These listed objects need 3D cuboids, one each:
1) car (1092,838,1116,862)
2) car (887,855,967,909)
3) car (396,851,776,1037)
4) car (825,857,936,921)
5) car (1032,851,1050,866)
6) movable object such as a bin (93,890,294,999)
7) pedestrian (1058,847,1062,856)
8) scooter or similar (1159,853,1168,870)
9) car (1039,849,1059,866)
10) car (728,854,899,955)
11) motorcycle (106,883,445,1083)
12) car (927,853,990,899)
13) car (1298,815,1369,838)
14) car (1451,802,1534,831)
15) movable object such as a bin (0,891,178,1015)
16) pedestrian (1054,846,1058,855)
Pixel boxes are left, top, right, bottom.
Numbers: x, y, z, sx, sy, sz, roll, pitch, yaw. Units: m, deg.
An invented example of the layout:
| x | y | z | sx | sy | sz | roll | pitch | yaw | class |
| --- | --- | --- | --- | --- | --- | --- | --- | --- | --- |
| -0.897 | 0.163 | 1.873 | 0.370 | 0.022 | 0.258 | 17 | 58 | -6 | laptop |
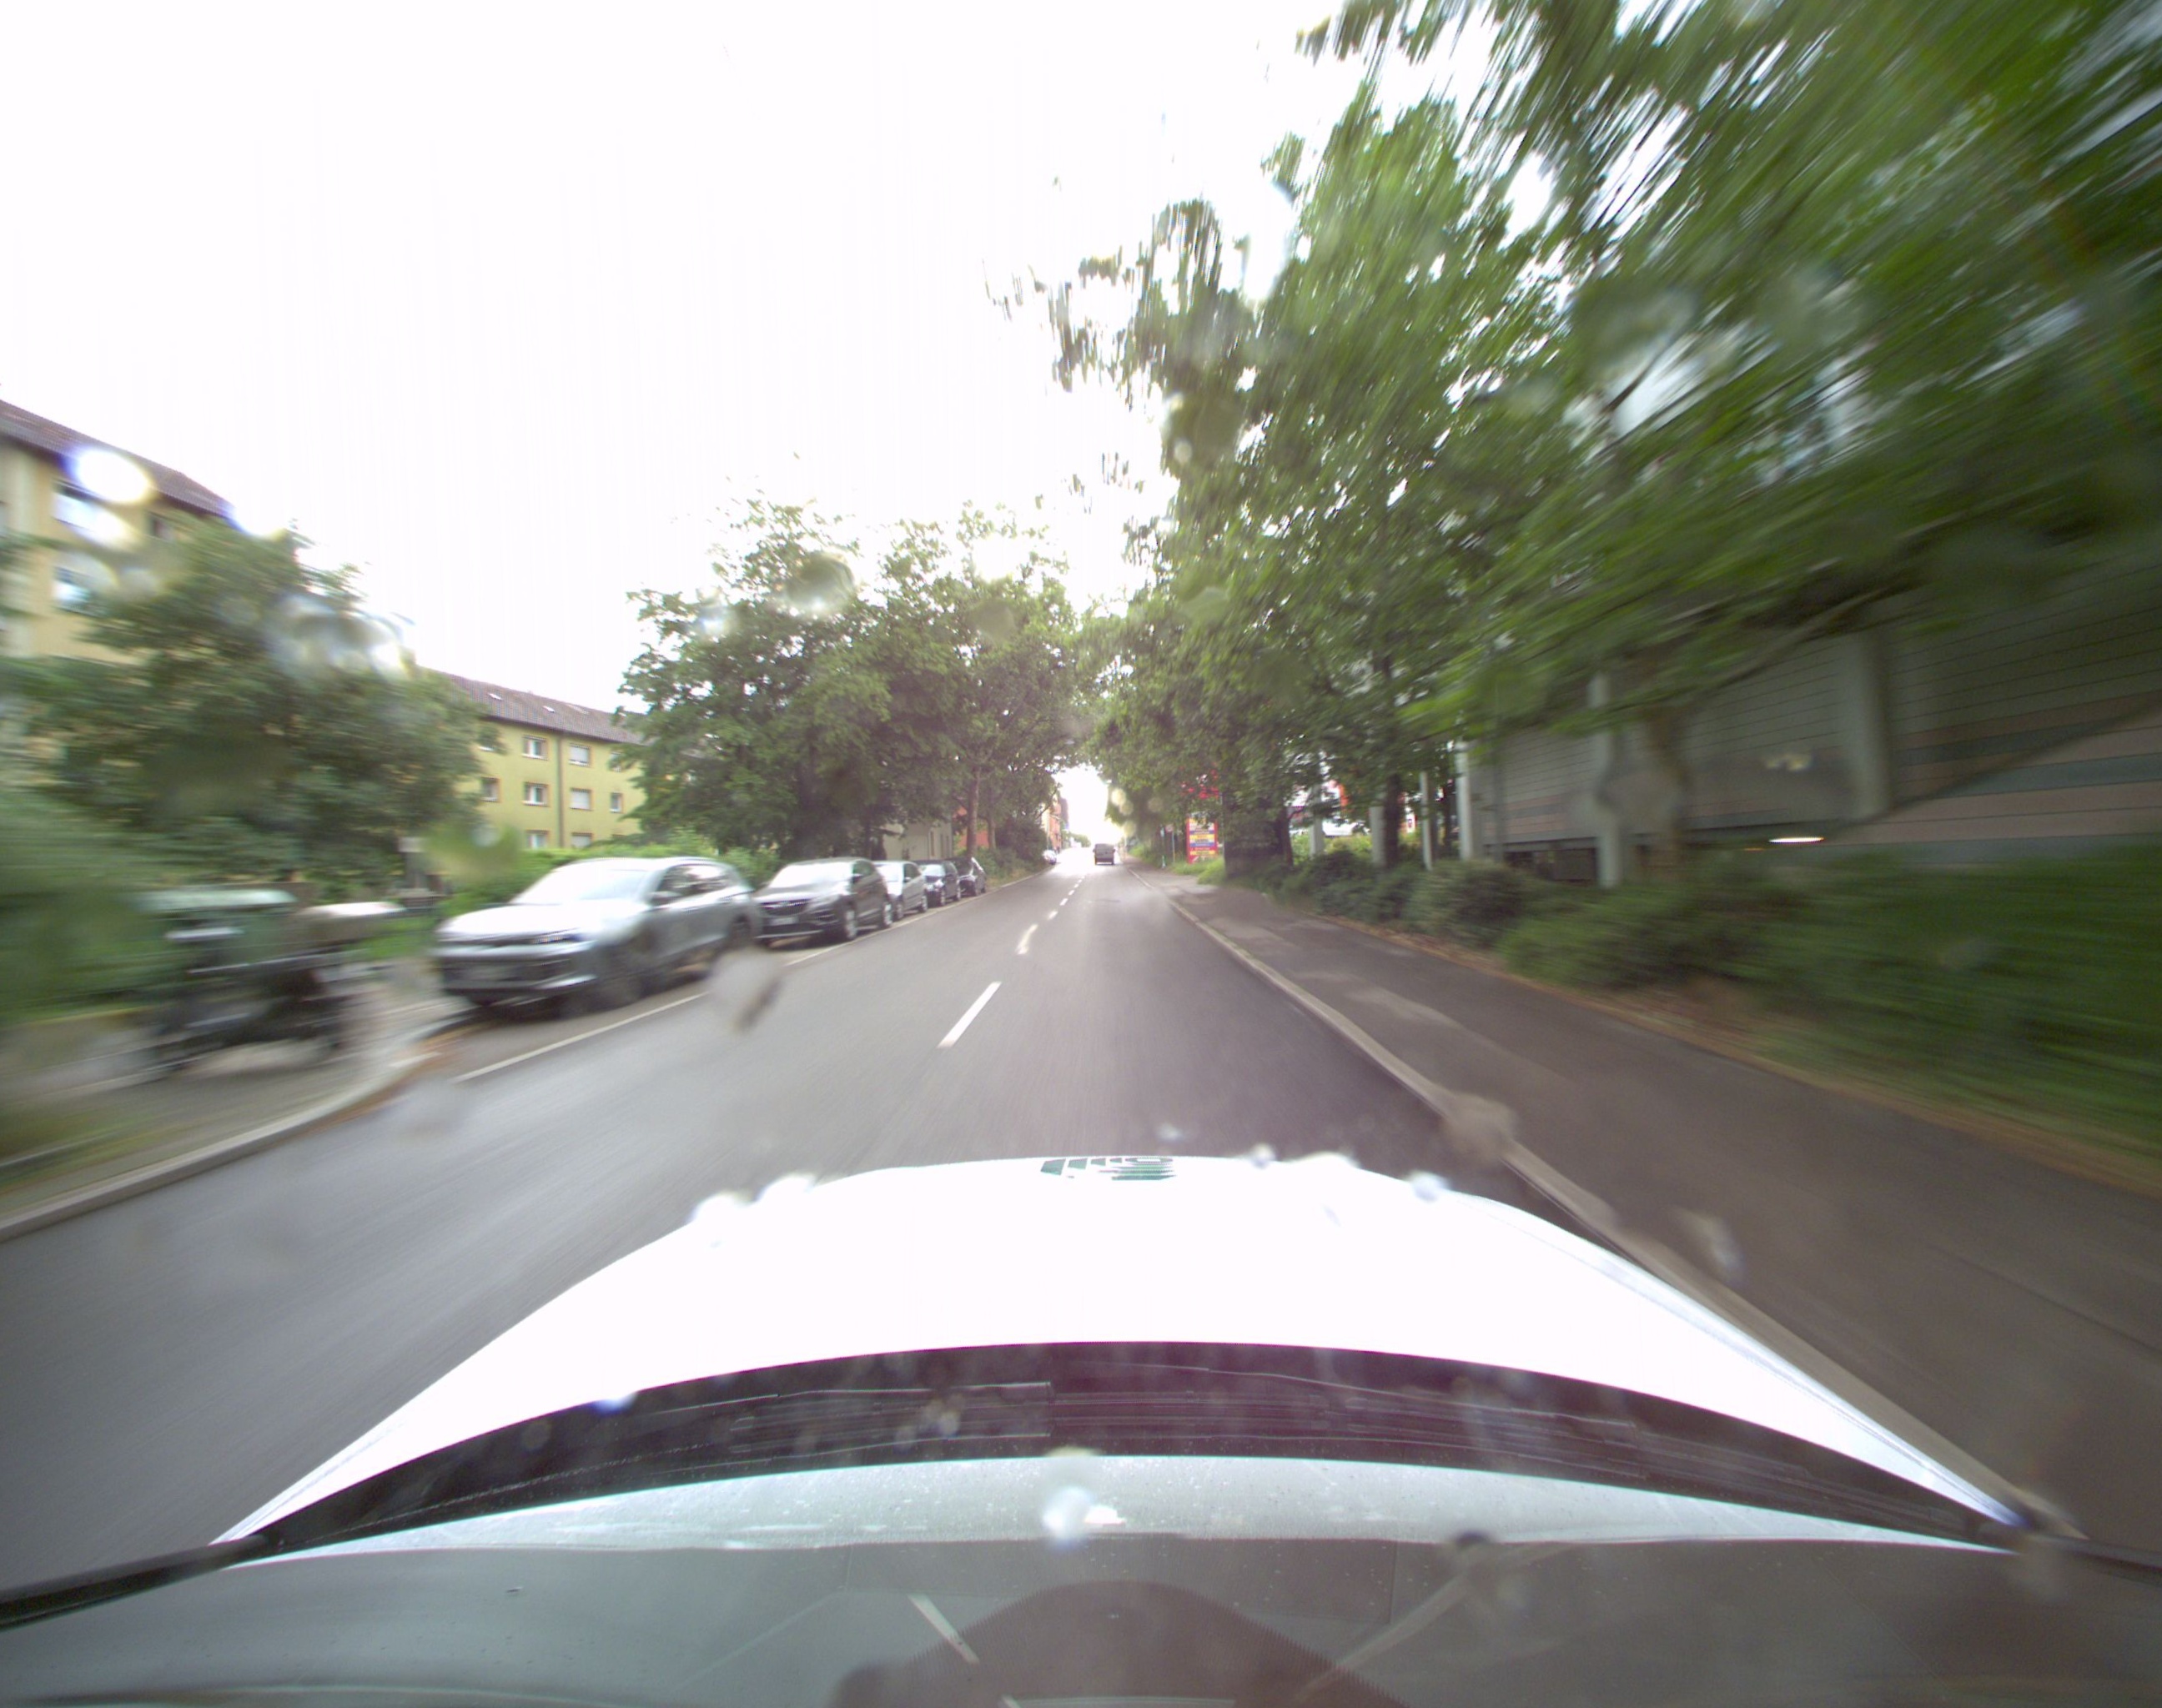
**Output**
| x | y | z | sx | sy | sz | roll | pitch | yaw | class |
| --- | --- | --- | --- | --- | --- | --- | --- | --- | --- |
| 2.391 | -0.354 | 83.691 | 2.327 | 2.231 | 4.002 | -3 | -1 | 2 | car |
| -4.934 | 0.847 | 26.537 | 1.666 | 1.508 | 3.876 | -3 | 0 | 2 | car |
| -5.797 | 0.893 | 10.398 | 1.727 | 1.657 | 4.567 | -6 | 0 | 3 | car |
| -5.155 | 0.842 | 21.481 | 1.665 | 1.508 | 4.126 | -1 | 0 | 3 | car |
| -3.977 | 0.457 | 81.087 | 1.633 | 1.373 | 3.758 | -2 | 0 | 0 | car |
| -12.748 | 1.259 | 11.781 | 1.230 | 1.380 | 1.481 | -2 | 0 | 4 | movable object such as a bin |
| -4.595 | -0.604 | 176.837 | 0.668 | 2.013 | 0.943 | -2 | 0 | 6 | pedestrian |
| 5.748 | 0.517 | 56.874 | 0.424 | 1.142 | 1.528 | 0 | -2 | 0 | scooter or similar |
| -3.396 | 0.331 | 86.565 | 1.684 | 1.542 | 4.120 | -5 | 1 | 2 | car |
| -5.057 | 0.870 | 16.098 | 1.859 | 1.591 | 4.238 | -4 | 0 | 0 | car |
| -6.351 | 0.983 | 6.498 | 1.833 | 1.315 | 0.783 | -5 | 0 | 1 | motorcycle |
| -4.723 | 0.820 | 31.965 | 1.642 | 1.538 | 4.019 | -6 | 0 | 1 | car |
| 16.539 | -1.812 | 53.529 | 4.085 | 1.376 | 1.903 | -1 | 0 | 1 | car |
| 28.479 | -2.569 | 56.463 | 4.757 | 1.783 | 1.914 | -2 | 0 | -3 | car |
| -12.869 | 1.209 | 10.279 | 1.230 | 1.380 | 1.481 | -2 | 0 | 4 | movable object such as a bin |
| -5.515 | -0.823 | 176.780 | 0.668 | 2.013 | 0.943 | -2 | 0 | 6 | pedestrian |
